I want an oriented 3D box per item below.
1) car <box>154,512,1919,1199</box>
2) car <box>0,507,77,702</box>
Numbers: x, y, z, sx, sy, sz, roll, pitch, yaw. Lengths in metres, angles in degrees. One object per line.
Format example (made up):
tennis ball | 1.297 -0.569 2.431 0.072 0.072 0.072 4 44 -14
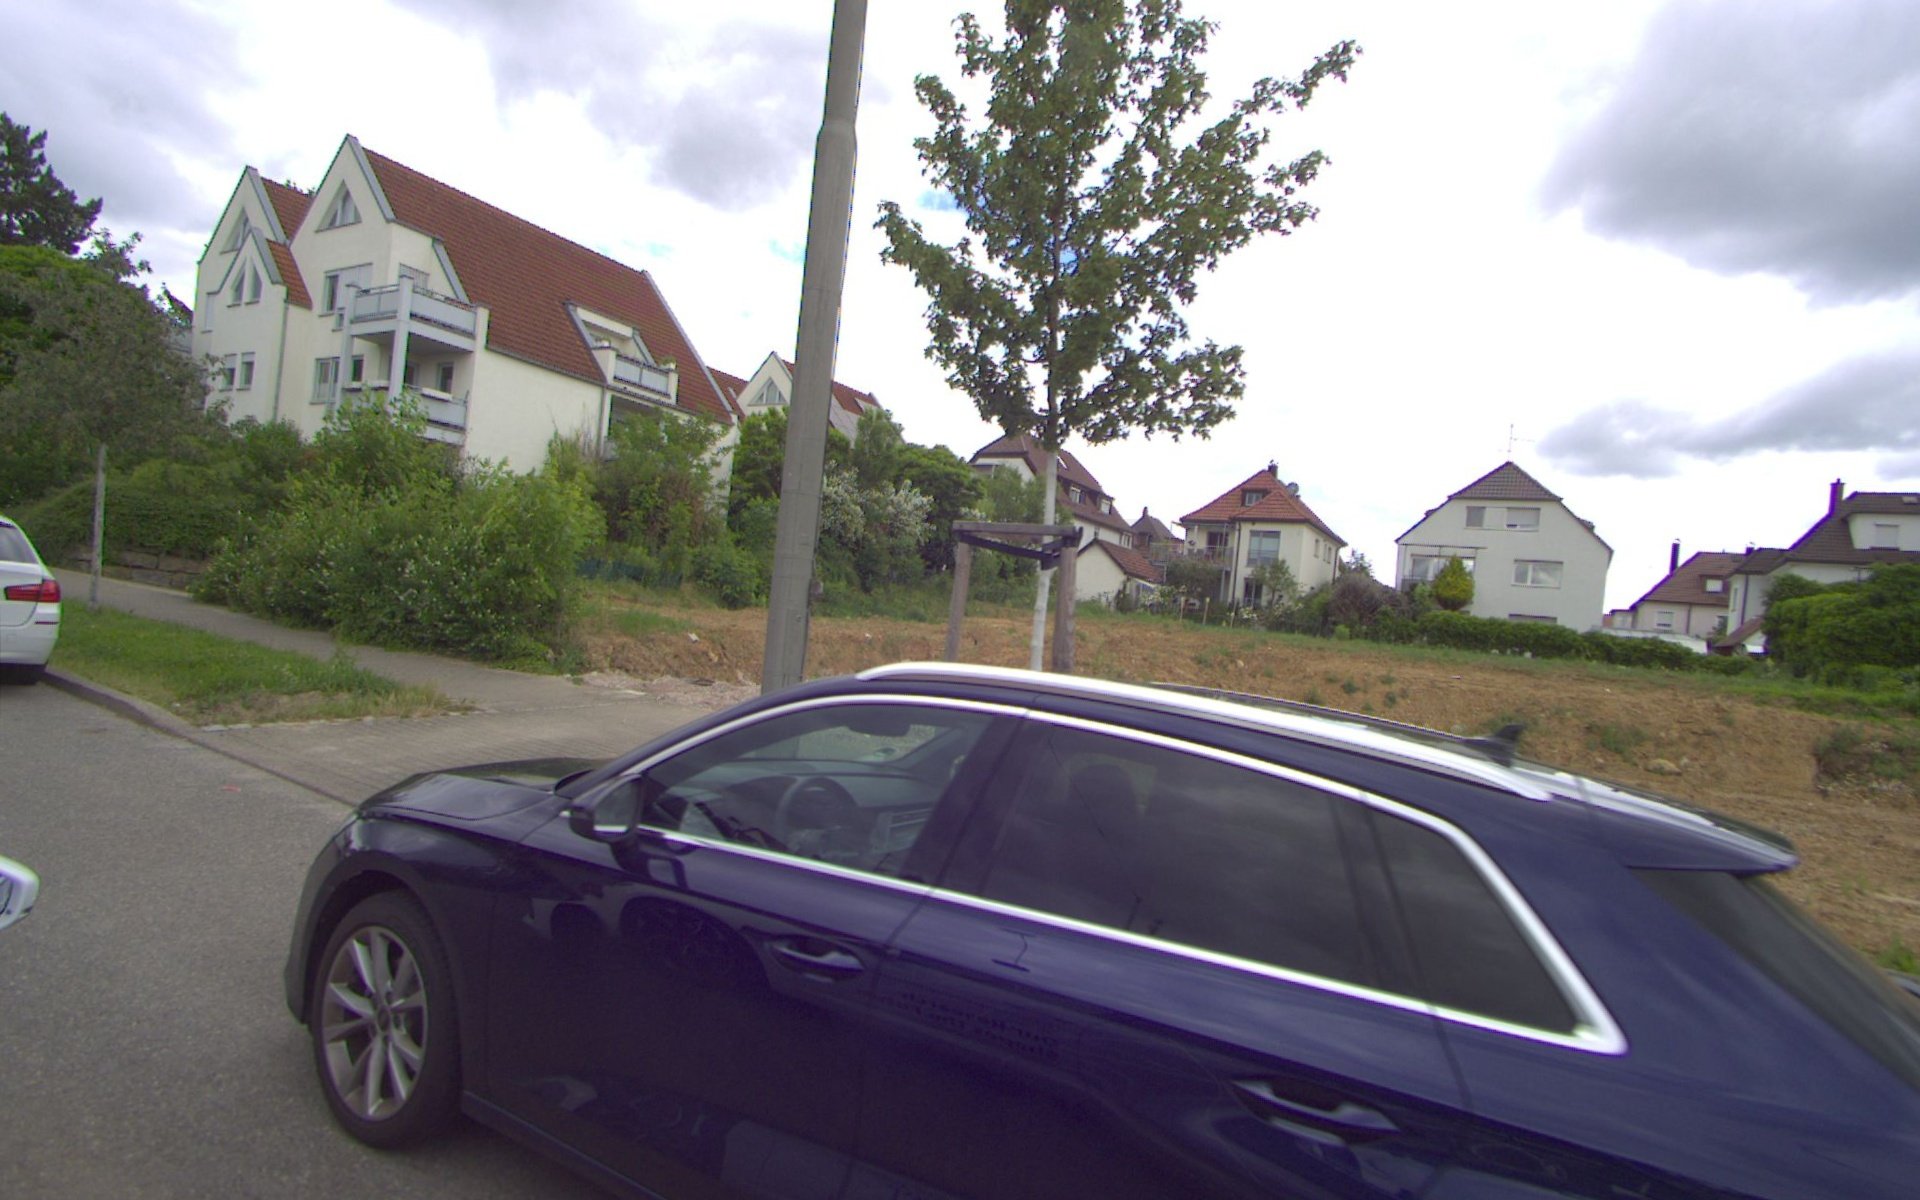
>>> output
car | -0.165 0.776 2.742 4.149 1.534 1.669 7 -1 30
car | -9.342 -0.221 8.372 4.331 1.470 1.697 7 -2 32
